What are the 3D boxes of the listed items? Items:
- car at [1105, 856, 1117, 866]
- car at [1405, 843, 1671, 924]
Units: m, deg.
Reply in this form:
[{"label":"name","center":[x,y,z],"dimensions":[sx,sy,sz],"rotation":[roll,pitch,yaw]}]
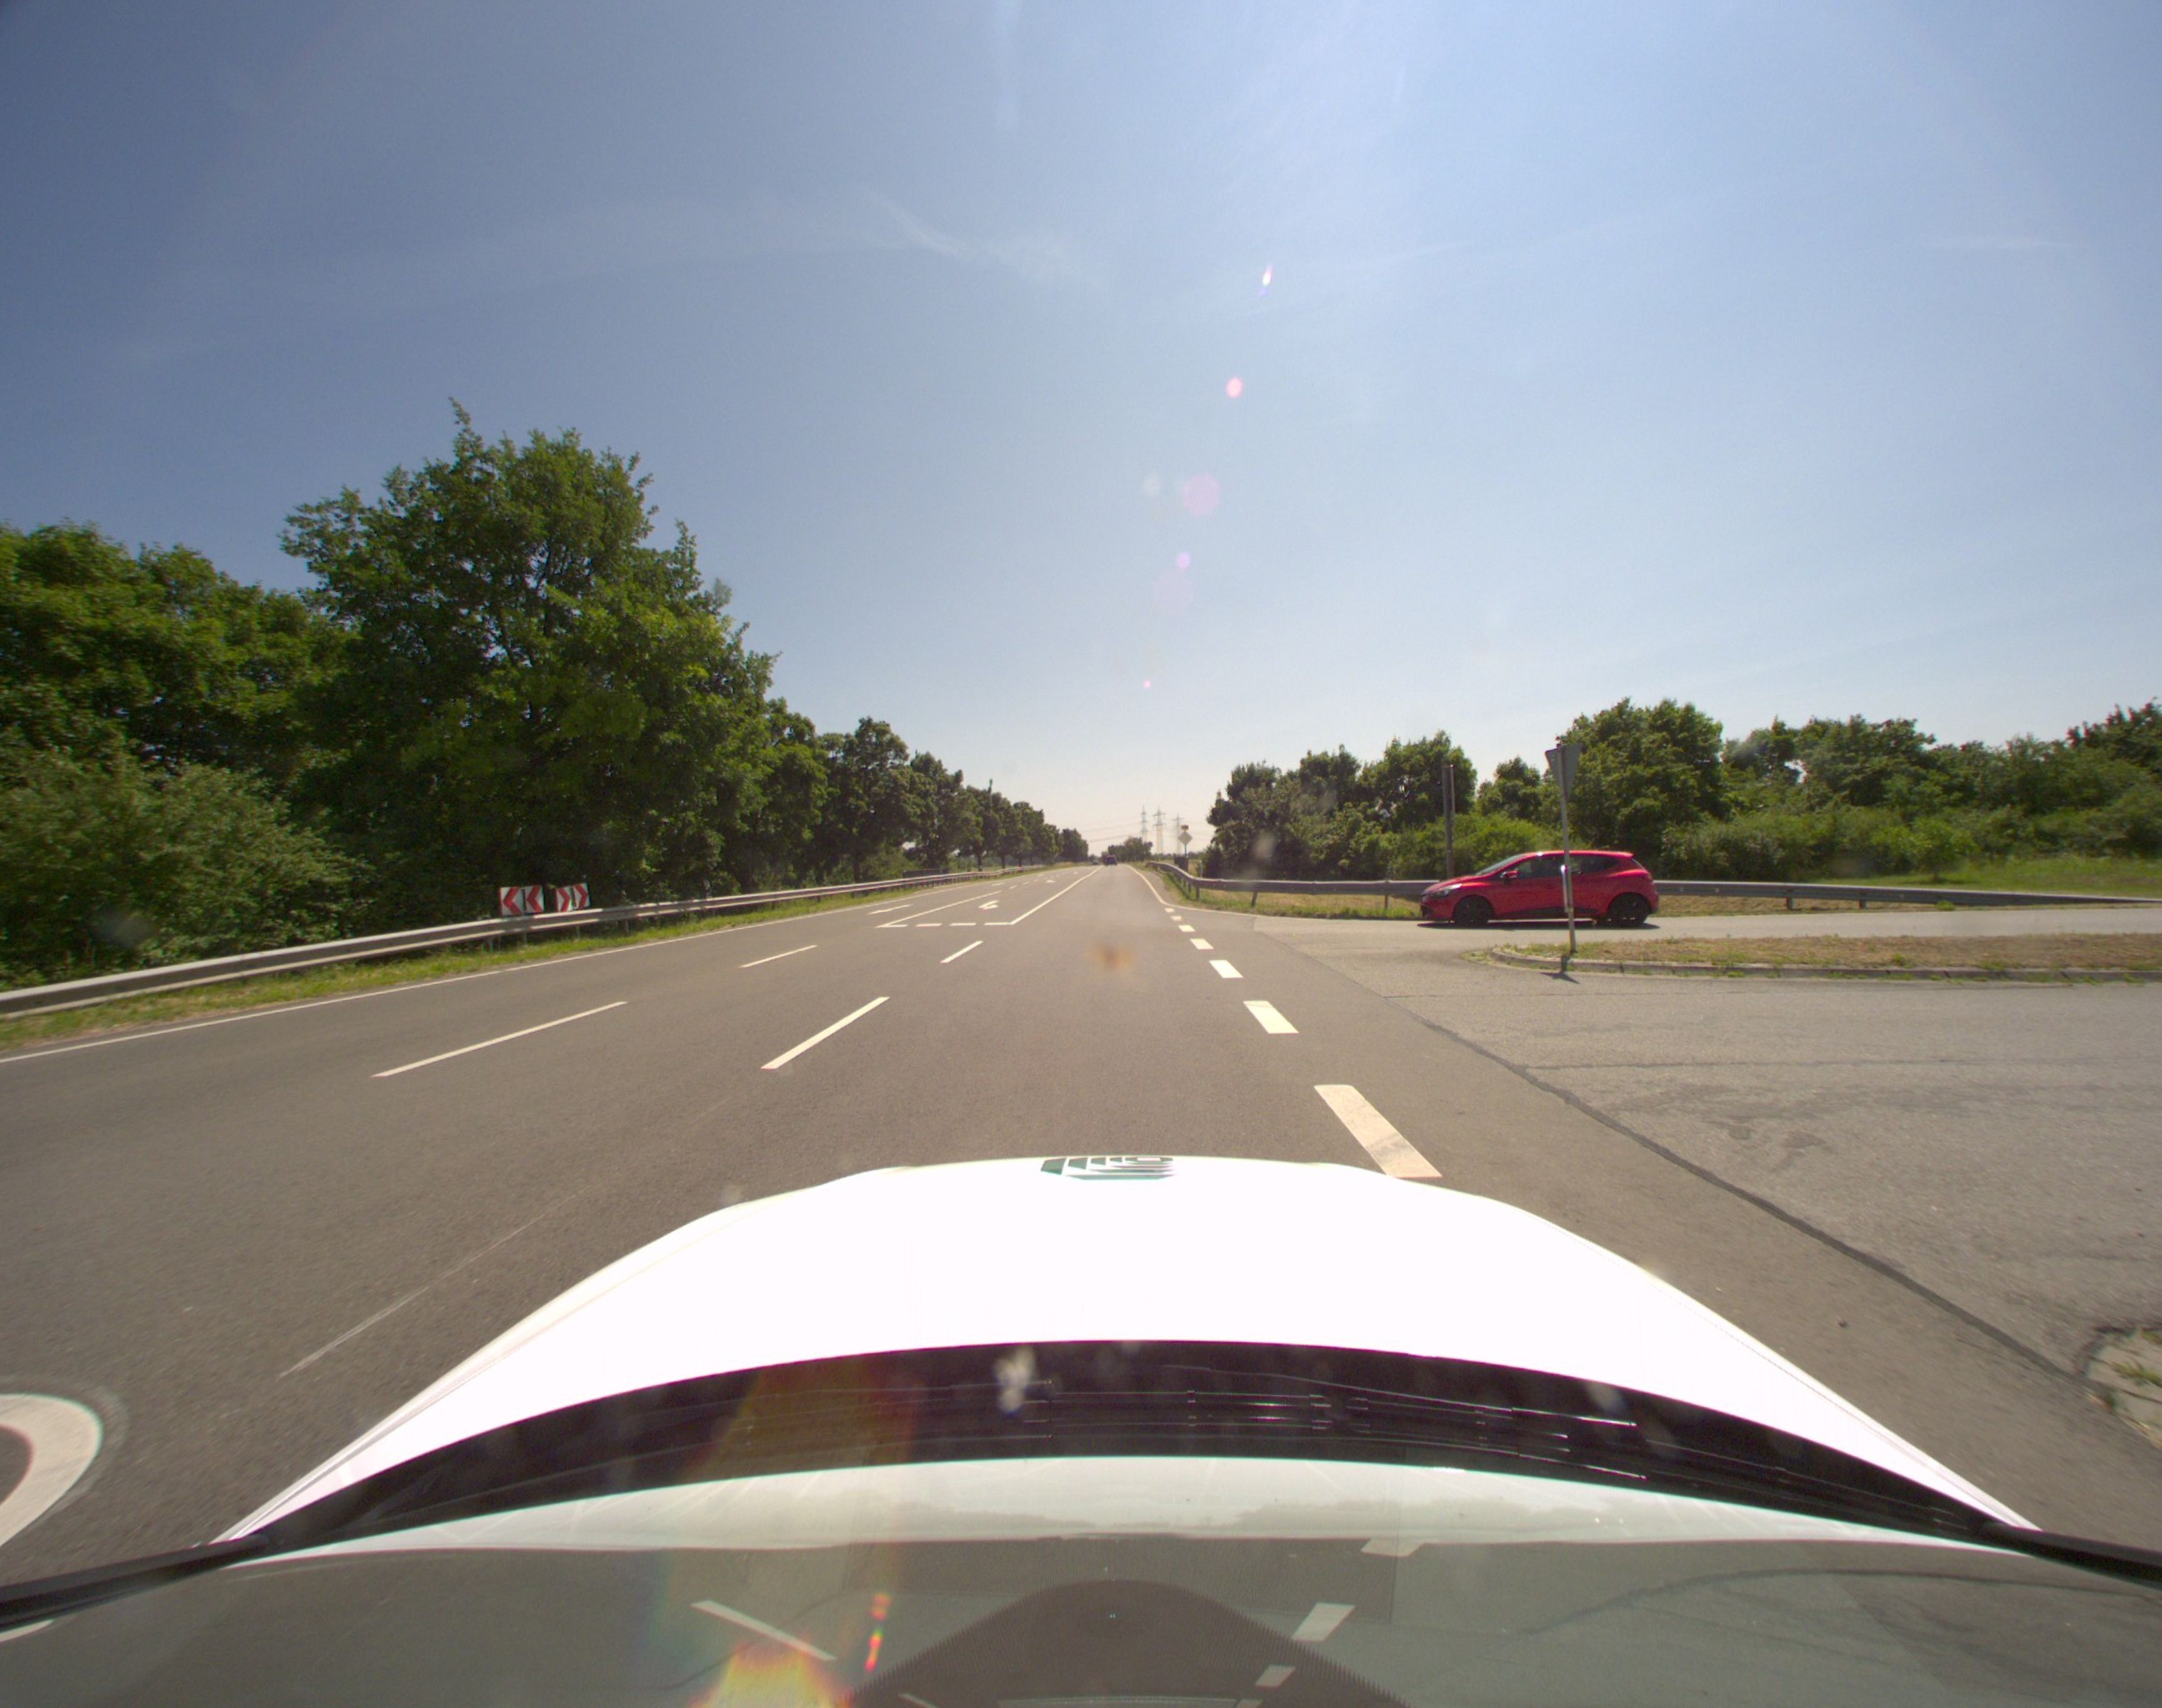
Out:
[{"label":"car","center":[5.010,1.171,135.216],"dimensions":[1.878,1.518,4.040],"rotation":[0,0,1]},{"label":"car","center":[8.541,0.566,15.621],"dimensions":[4.121,1.418,1.787],"rotation":[-1,-1,15]}]
